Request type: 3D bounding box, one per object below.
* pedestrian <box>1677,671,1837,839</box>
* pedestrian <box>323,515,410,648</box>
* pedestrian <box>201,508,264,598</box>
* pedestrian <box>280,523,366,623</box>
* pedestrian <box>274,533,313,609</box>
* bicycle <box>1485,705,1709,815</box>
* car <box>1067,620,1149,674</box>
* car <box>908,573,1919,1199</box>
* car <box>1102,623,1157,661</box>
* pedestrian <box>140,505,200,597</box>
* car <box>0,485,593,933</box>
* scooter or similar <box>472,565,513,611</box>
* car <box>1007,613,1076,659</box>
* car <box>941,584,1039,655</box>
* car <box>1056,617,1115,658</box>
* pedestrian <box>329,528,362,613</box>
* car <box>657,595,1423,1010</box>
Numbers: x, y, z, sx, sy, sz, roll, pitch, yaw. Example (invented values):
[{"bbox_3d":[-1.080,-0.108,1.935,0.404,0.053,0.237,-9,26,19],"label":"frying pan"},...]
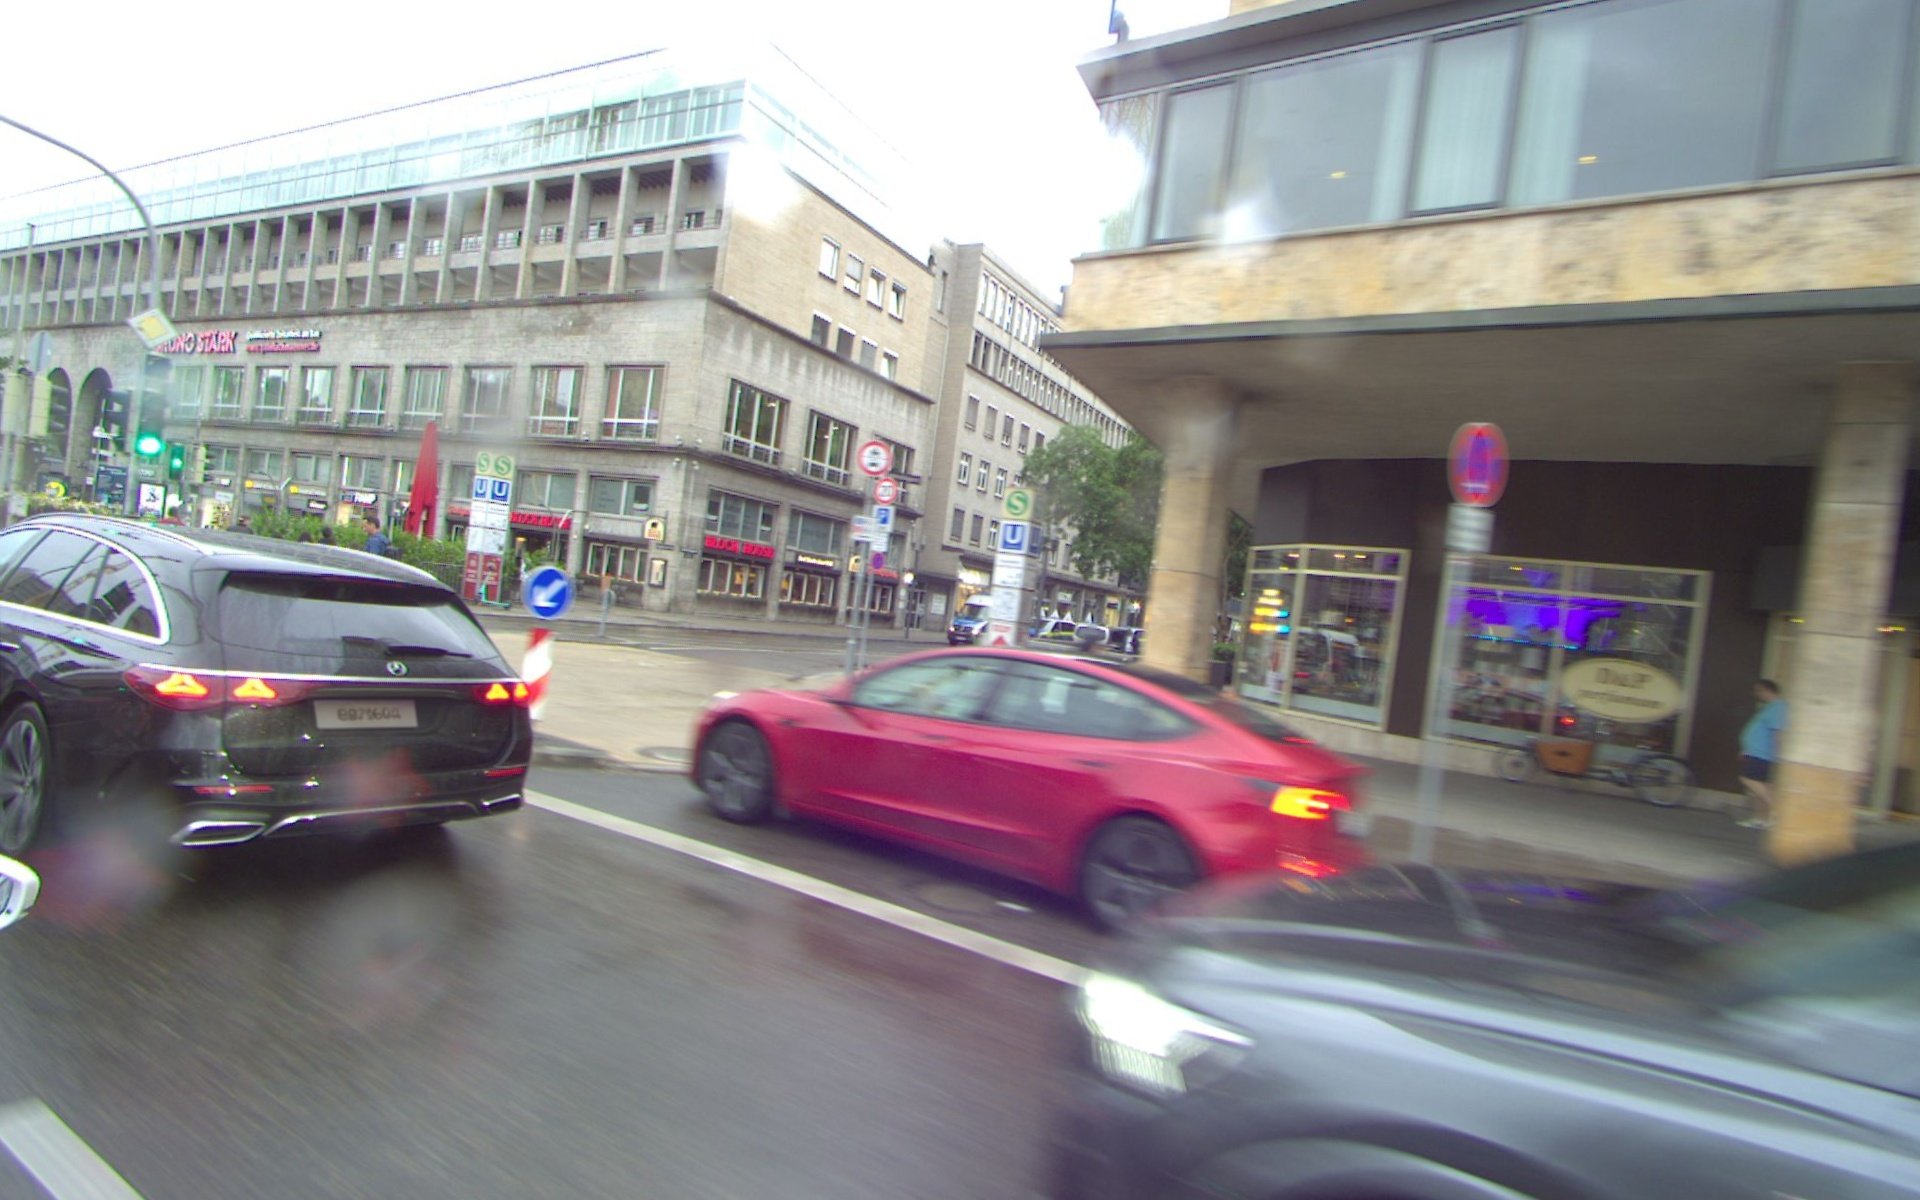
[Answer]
[{"bbox_3d":[9.622,1.840,12.187,1.115,1.811,0.802,7,-1,2],"label":"pedestrian"},{"bbox_3d":[-8.484,-0.256,14.408,0.768,1.776,0.503,7,-1,-15],"label":"pedestrian"},{"bbox_3d":[-15.028,-0.959,20.801,0.458,1.737,0.757,6,-1,28],"label":"pedestrian"},{"bbox_3d":[-12.016,-0.488,18.989,0.642,1.774,1.097,6,1,29],"label":"pedestrian"},{"bbox_3d":[-14.064,-0.597,21.237,0.460,1.535,0.447,7,-1,-25],"label":"pedestrian"},{"bbox_3d":[8.583,2.135,13.681,2.431,1.058,0.657,6,-2,32],"label":"bicycle"},{"bbox_3d":[6.700,2.147,45.105,1.966,1.994,4.639,7,-1,29],"label":"car"},{"bbox_3d":[2.234,0.982,1.570,4.271,1.519,1.882,6,-2,32],"label":"car"},{"bbox_3d":[11.681,2.918,69.157,1.966,2.065,4.832,6,-3,30],"label":"car"},{"bbox_3d":[-16.105,-0.976,20.528,0.561,1.772,0.679,7,-1,-16],"label":"pedestrian"},{"bbox_3d":[-4.327,0.294,5.444,4.551,1.519,1.797,6,-2,31],"label":"car"},{"bbox_3d":[-13.742,-0.352,29.568,1.000,1.203,0.291,7,-1,13],"label":"scooter or similar"},{"bbox_3d":[4.609,2.054,56.182,1.966,2.065,4.557,6,-3,29],"label":"car"},{"bbox_3d":[1.599,1.026,49.576,1.966,2.792,6.184,6,-3,29],"label":"car"},{"bbox_3d":[7.789,2.342,62.213,1.966,2.065,4.484,6,-3,29],"label":"car"},{"bbox_3d":[-13.393,-0.644,21.920,0.477,1.774,0.661,5,2,-30],"label":"pedestrian"},{"bbox_3d":[0.390,1.004,6.513,4.451,1.503,1.879,6,-2,31],"label":"car"}]
